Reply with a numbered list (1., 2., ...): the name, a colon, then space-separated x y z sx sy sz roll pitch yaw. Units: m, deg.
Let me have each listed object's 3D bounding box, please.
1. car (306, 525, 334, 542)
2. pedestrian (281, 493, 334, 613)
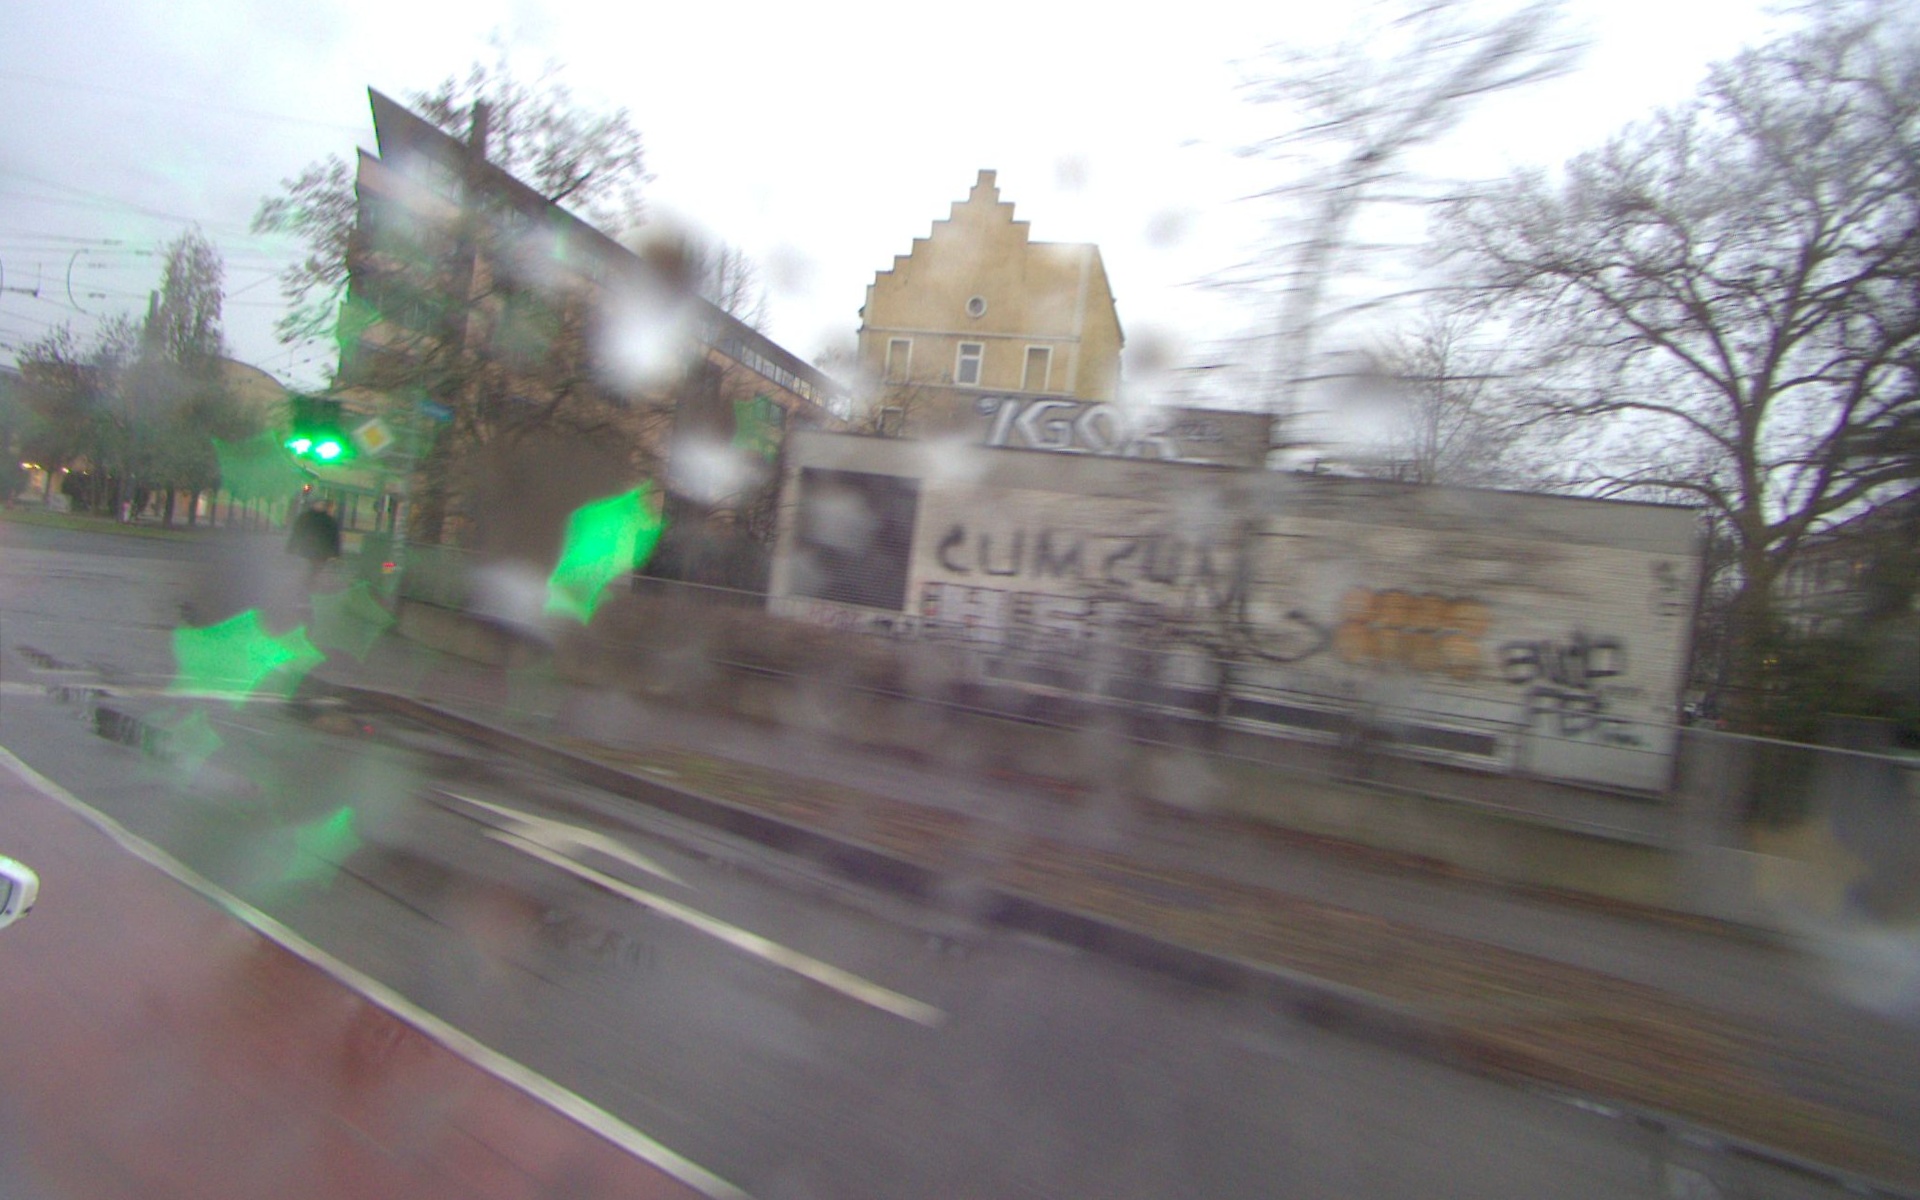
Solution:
1. car: -57.282 -5.934 90.077 1.653 1.195 3.682 8 0 -27
2. pedestrian: -10.511 -0.753 16.196 0.674 1.866 0.570 10 8 44
